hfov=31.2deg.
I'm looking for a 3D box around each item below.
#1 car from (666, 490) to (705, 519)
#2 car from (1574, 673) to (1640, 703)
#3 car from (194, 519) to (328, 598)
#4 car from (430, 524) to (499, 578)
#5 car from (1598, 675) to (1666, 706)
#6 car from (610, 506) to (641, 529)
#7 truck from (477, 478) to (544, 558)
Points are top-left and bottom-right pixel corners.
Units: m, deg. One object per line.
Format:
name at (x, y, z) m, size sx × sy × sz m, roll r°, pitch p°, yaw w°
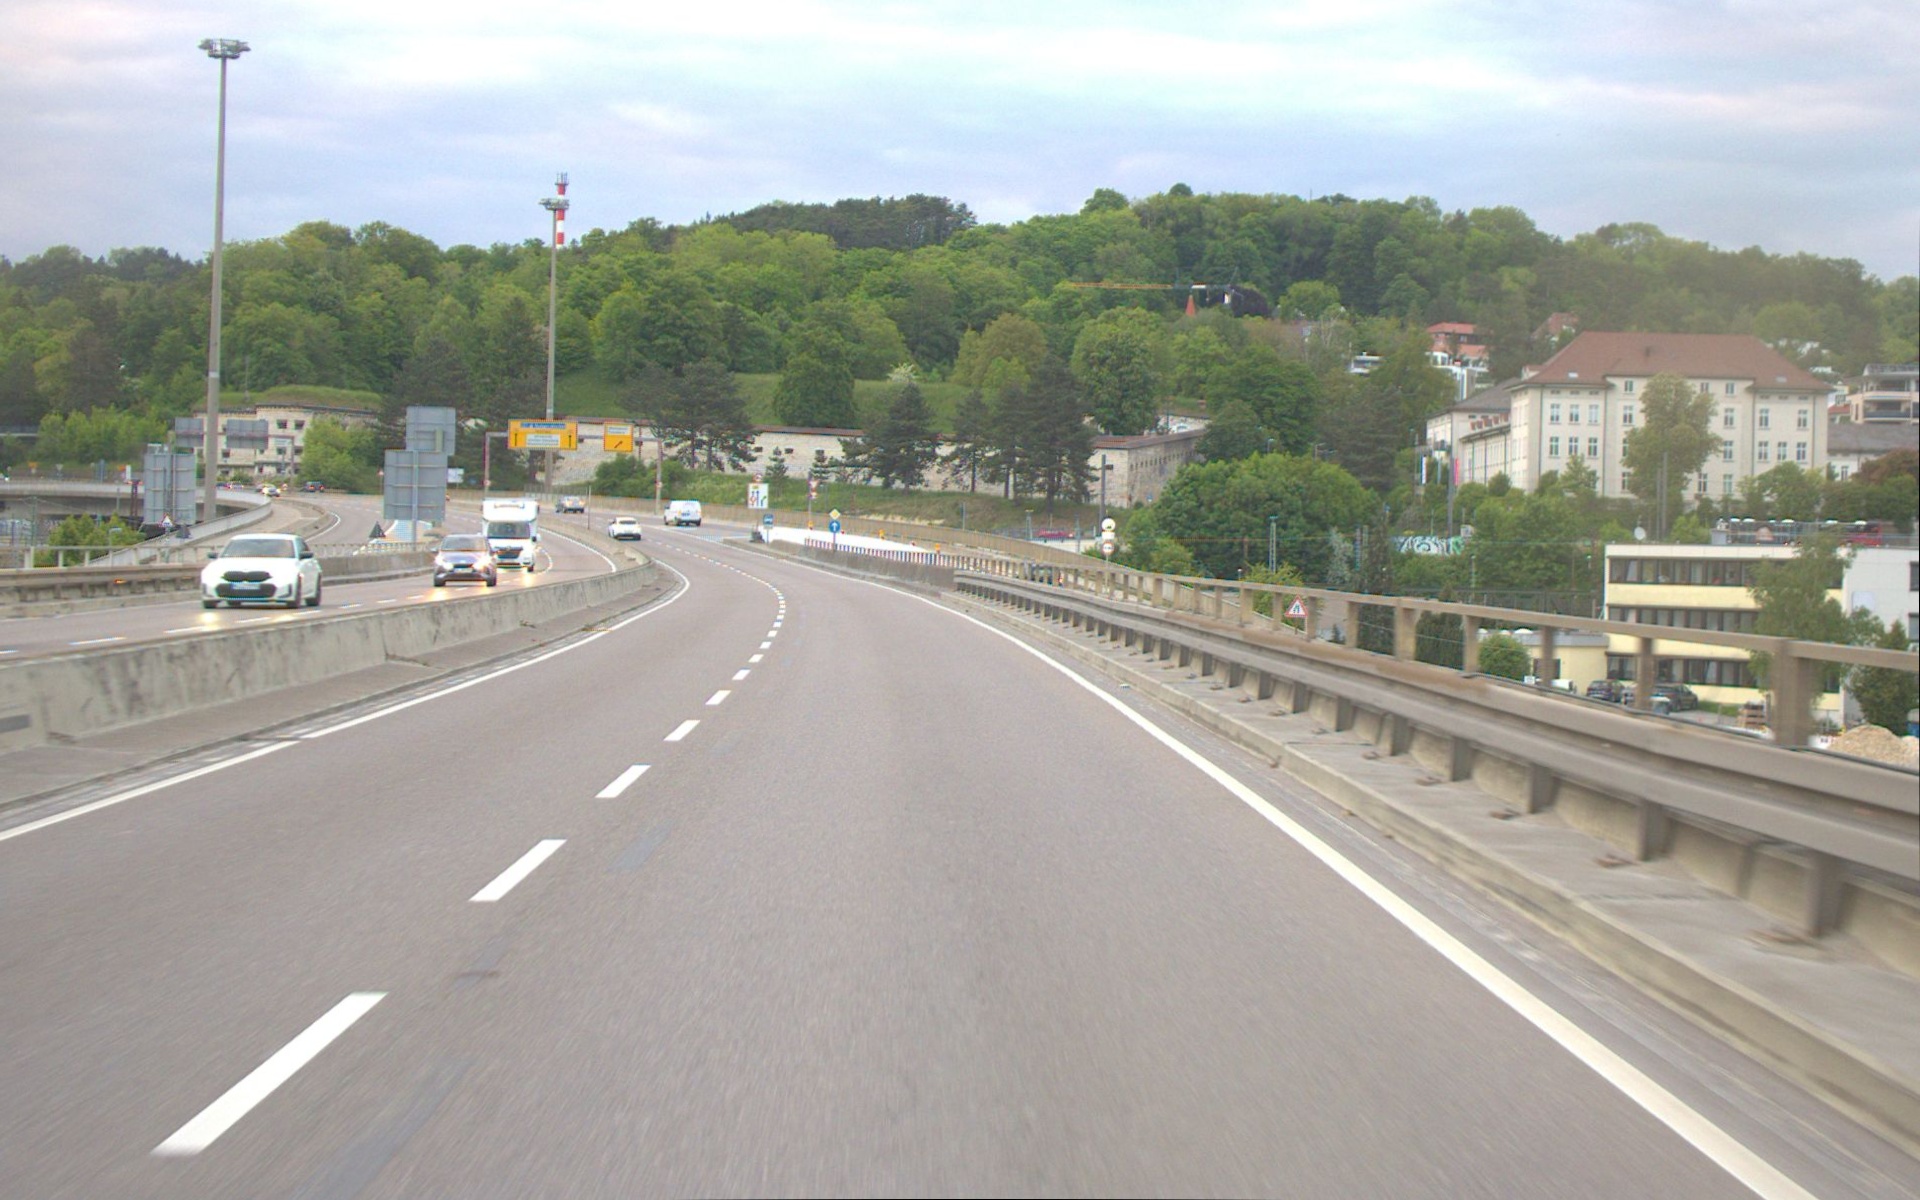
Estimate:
car at (-20.678, -7.232, 259.132) m, size 1.993 × 2.006 × 4.110 m, roll 1°, pitch 3°, yaw -18°
car at (41.359, 5.624, 219.735) m, size 3.987 × 1.560 × 1.832 m, roll 4°, pitch 3°, yaw -38°
car at (-13.668, -0.832, 67.465) m, size 1.831 × 1.498 × 4.817 m, roll 0°, pitch 1°, yaw -2°
car at (-14.179, -1.418, 98.519) m, size 1.628 × 1.436 × 3.837 m, roll 1°, pitch 2°, yaw -4°
car at (42.344, 5.682, 216.600) m, size 3.987 × 1.560 × 1.832 m, roll 4°, pitch 3°, yaw -38°
car at (-21.973, -5.404, 225.590) m, size 1.630 × 1.383 × 4.002 m, roll 0°, pitch 3°, yaw -11°
truck at (-18.919, -3.424, 144.961) m, size 2.534 × 3.285 × 7.448 m, roll 1°, pitch 1°, yaw -6°
